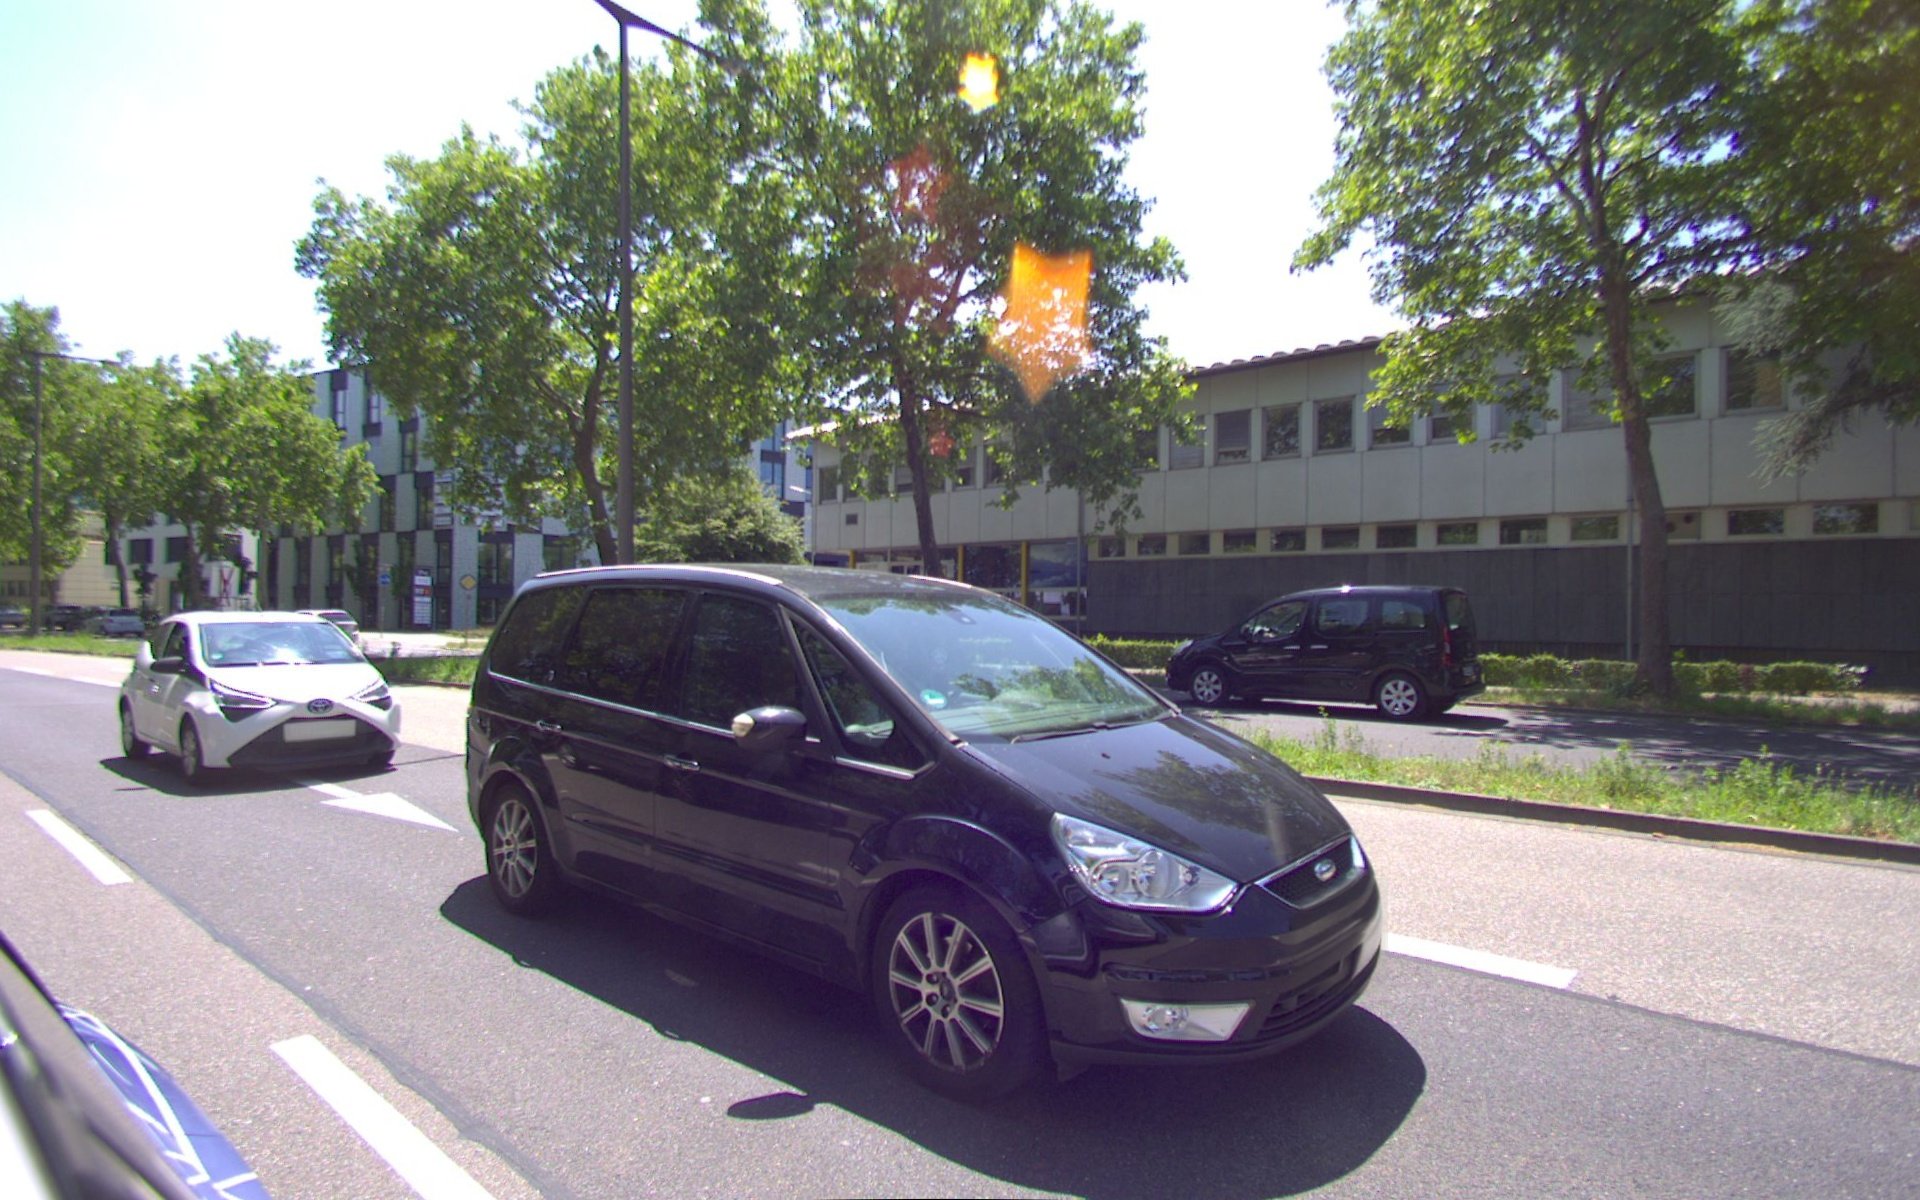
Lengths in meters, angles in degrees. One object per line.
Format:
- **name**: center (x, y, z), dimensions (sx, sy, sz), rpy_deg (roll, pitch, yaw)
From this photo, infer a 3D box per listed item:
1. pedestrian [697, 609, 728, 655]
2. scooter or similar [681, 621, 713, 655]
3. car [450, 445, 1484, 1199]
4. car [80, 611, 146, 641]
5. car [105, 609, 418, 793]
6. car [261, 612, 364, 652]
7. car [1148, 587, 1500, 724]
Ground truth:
- **pedestrian**: center (-8.529, 1.108, 34.880), dimensions (0.789, 1.572, 0.636), rpy_deg (-1, -2, 34)
- **scooter or similar**: center (-9.198, 1.316, 35.373), dimensions (0.857, 1.172, 0.672), rpy_deg (-1, -2, 35)
- **car**: center (-0.411, 0.552, 4.587), dimensions (4.647, 1.769, 1.834), rpy_deg (-1, -1, 42)
- **car**: center (-43.061, 1.316, 51.429), dimensions (3.666, 1.470, 1.716), rpy_deg (-1, -2, 36)
- **car**: center (-6.875, 0.832, 9.836), dimensions (3.649, 1.456, 1.602), rpy_deg (-1, -2, 40)
- **car**: center (-24.685, 1.186, 38.552), dimensions (4.540, 1.429, 1.836), rpy_deg (-1, -2, 37)
- **car**: center (5.139, 0.718, 14.645), dimensions (4.441, 1.692, 1.892), rpy_deg (-1, -1, 40)
